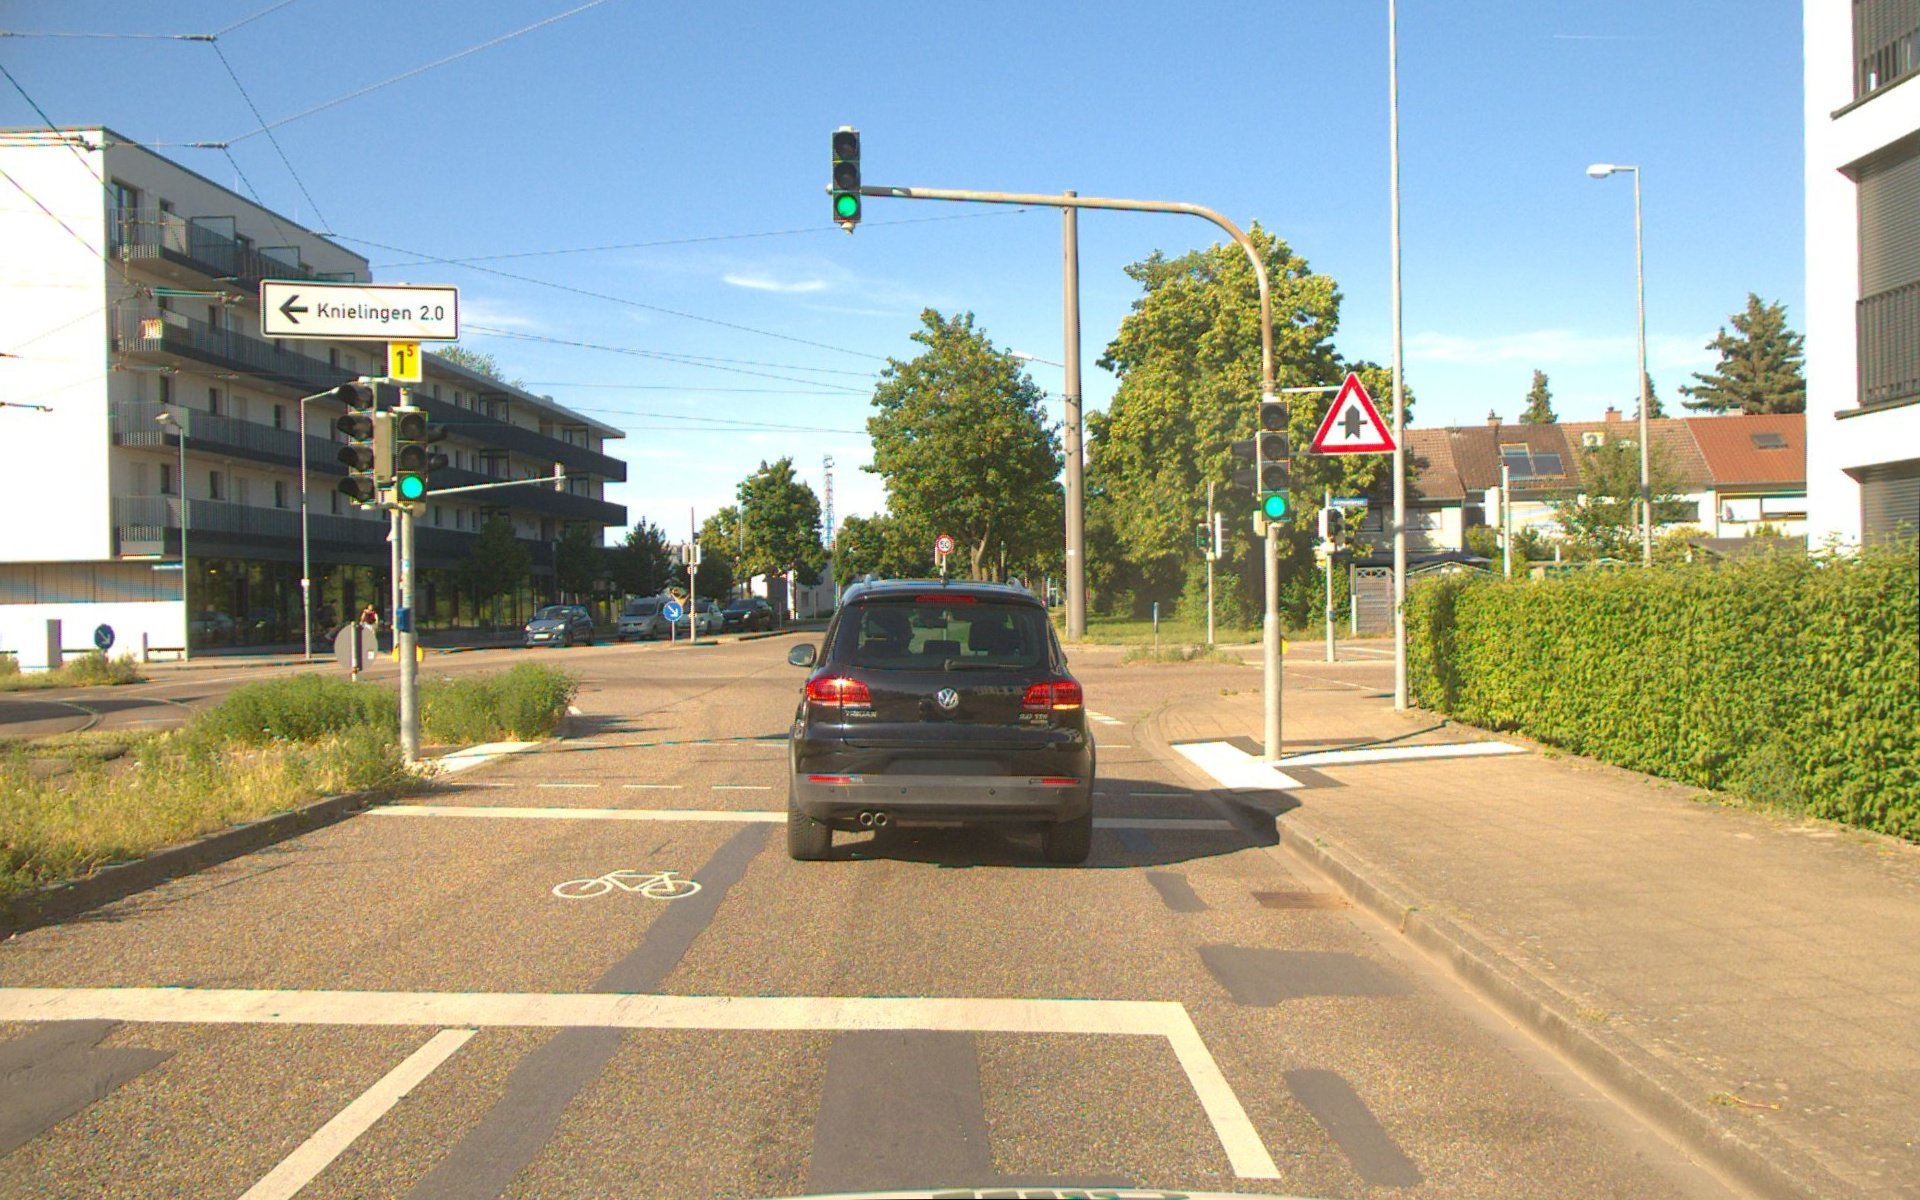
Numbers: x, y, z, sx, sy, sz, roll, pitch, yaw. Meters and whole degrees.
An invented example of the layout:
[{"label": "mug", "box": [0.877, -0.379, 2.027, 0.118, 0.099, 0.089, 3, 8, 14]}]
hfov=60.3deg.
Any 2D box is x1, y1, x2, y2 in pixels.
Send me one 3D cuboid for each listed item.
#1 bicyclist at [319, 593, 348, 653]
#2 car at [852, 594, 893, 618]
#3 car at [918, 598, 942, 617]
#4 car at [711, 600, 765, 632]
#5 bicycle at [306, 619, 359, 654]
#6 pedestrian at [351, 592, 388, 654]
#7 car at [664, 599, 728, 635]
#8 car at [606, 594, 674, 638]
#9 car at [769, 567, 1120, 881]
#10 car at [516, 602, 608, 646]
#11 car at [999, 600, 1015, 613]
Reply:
[{"label": "bicyclist", "box": [-21.887, 0.794, 57.777, 0.784, 2.049, 0.803, -1, 0, -30]}, {"label": "car", "box": [-5.949, 0.395, 112.756, 1.951, 1.599, 4.003, -2, 0, 8]}, {"label": "car", "box": [-2.842, 0.717, 159.116, 1.952, 1.768, 5.201, -1, 0, 3]}, {"label": "car", "box": [-11.344, 0.801, 84.746, 1.926, 1.561, 4.742, -1, 0, 3]}, {"label": "bicycle", "box": [-21.923, 1.272, 57.755, 1.620, 1.164, 0.737, -1, 0, -30]}, {"label": "pedestrian", "box": [-20.065, 0.783, 56.210, 0.957, 2.049, 0.760, -1, 0, -2]}, {"label": "car", "box": [-12.368, 0.788, 77.657, 1.951, 1.513, 3.547, -3, 0, 7]}, {"label": "car", "box": [-13.585, 0.663, 70.490, 1.952, 1.786, 4.362, -1, 0, 1]}, {"label": "car", "box": [-0.115, 0.674, 11.252, 1.890, 1.683, 4.513, 1, 0, -1]}, {"label": "car", "box": [-14.472, 0.861, 60.376, 1.659, 1.482, 4.456, -1, 0, 8]}, {"label": "car", "box": [6.521, 0.849, 228.737, 1.855, 1.789, 4.003, 1, 0, 6]}]
